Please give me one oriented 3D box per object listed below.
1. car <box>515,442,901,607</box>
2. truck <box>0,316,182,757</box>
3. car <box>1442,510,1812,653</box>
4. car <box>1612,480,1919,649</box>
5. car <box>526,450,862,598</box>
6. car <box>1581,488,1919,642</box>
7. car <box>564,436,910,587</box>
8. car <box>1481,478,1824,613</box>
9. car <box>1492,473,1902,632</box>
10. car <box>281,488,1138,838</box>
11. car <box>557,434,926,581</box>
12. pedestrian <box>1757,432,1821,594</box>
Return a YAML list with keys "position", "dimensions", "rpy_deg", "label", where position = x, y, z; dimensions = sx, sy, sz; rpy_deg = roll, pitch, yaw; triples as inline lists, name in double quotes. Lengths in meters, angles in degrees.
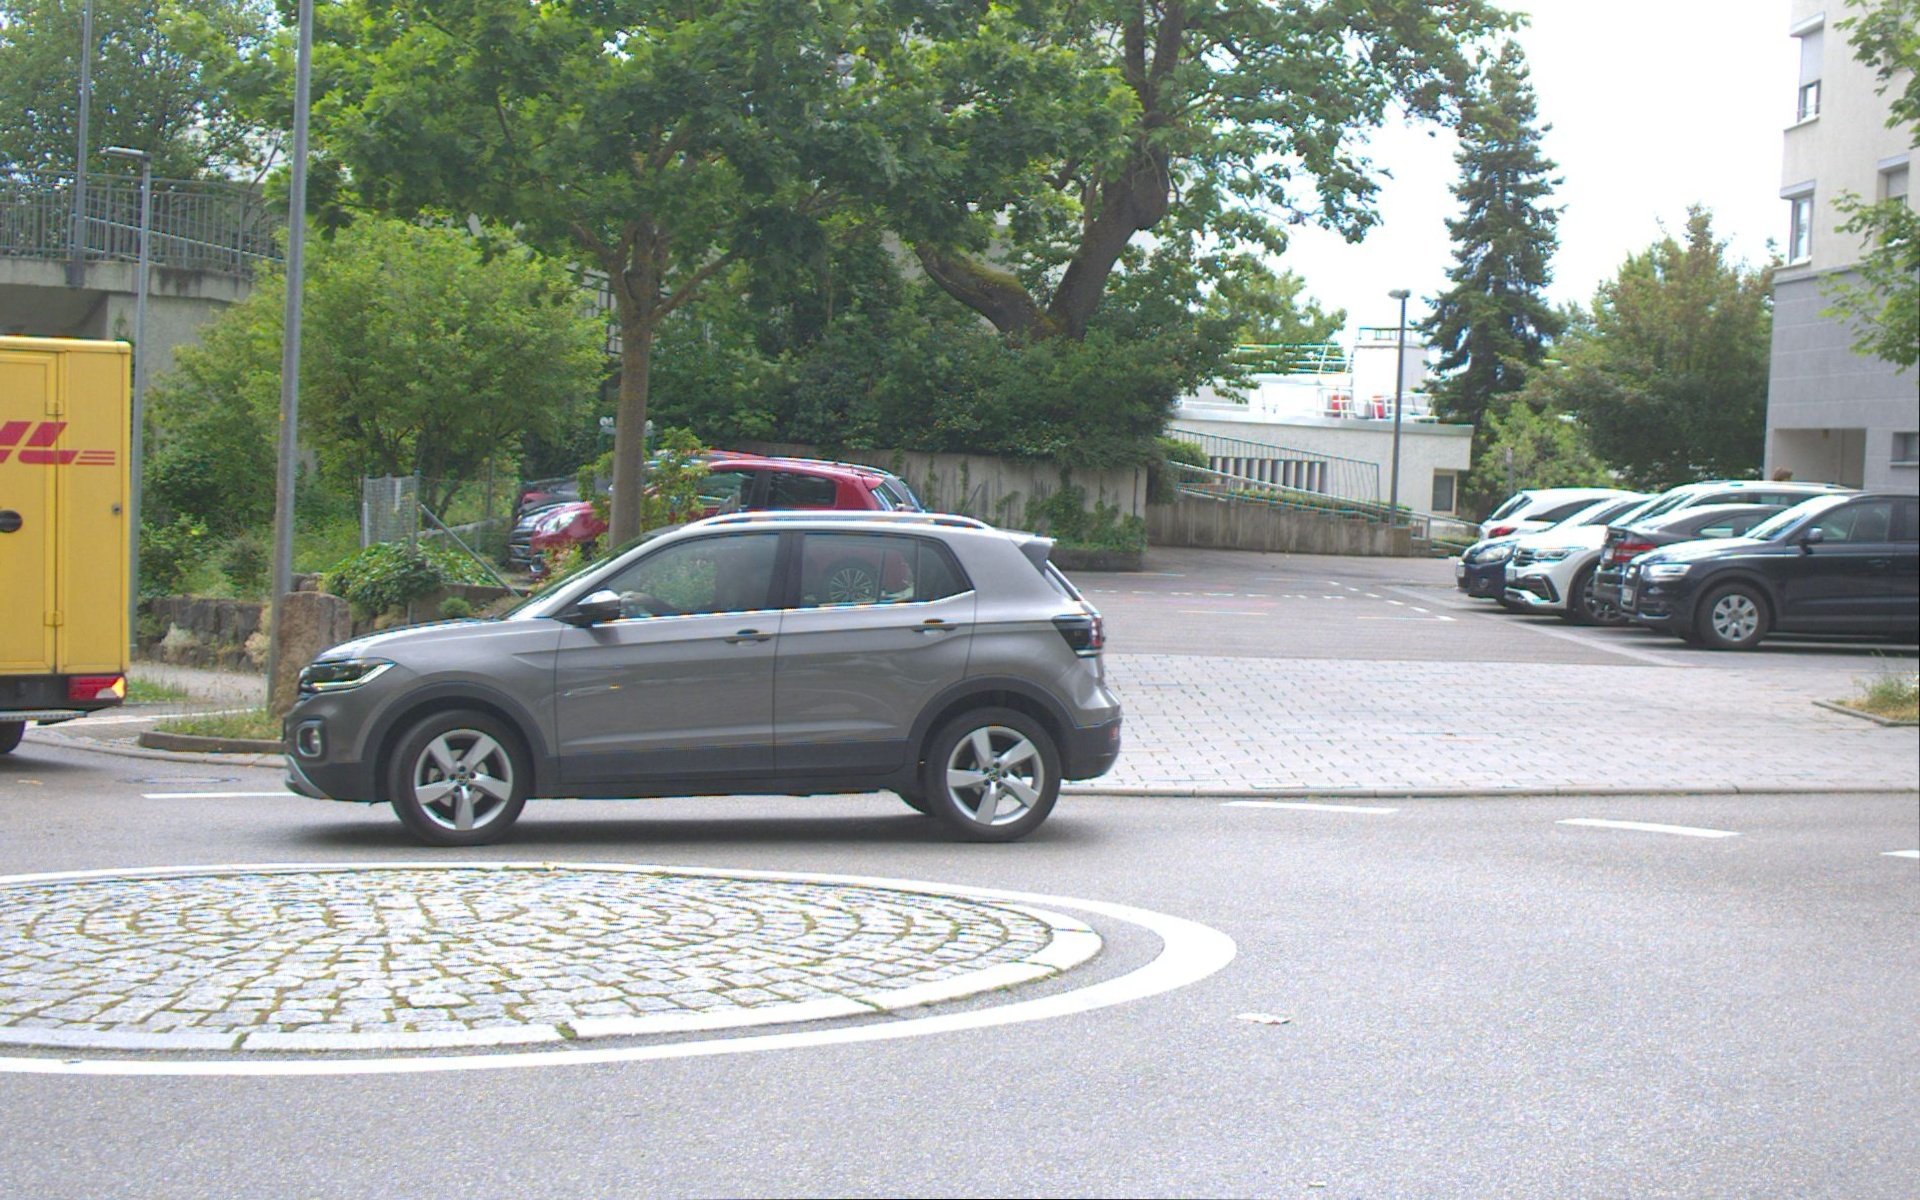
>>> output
- position: [-2.456, -0.738, 33.864]
  dimensions: [3.649, 1.434, 1.684]
  rpy_deg: [2, 1, -3]
  label: "car"
- position: [-8.075, -0.446, 23.607]
  dimensions: [2.467, 2.693, 6.822]
  rpy_deg: [2, 0, -39]
  label: "truck"
- position: [7.887, -0.229, 40.930]
  dimensions: [4.041, 1.512, 1.756]
  rpy_deg: [2, 1, 2]
  label: "car"
- position: [8.622, -0.327, 33.870]
  dimensions: [4.041, 1.512, 1.756]
  rpy_deg: [2, 1, 2]
  label: "car"
- position: [-2.974, -0.852, 38.803]
  dimensions: [3.649, 1.493, 1.684]
  rpy_deg: [2, 1, -3]
  label: "car"
- position: [8.614, -0.363, 36.179]
  dimensions: [3.827, 1.454, 1.692]
  rpy_deg: [2, 1, 2]
  label: "car"
- position: [-2.687, -1.048, 41.192]
  dimensions: [3.986, 1.608, 1.945]
  rpy_deg: [2, 1, -5]
  label: "car"
- position: [8.683, -0.693, 43.351]
  dimensions: [3.981, 1.512, 1.757]
  rpy_deg: [2, 1, 4]
  label: "car"
- position: [8.232, -0.534, 38.578]
  dimensions: [4.118, 1.588, 1.693]
  rpy_deg: [2, 1, -5]
  label: "car"
- position: [-1.246, 0.289, 16.945]
  dimensions: [3.995, 1.612, 1.723]
  rpy_deg: [0, 1, -7]
  label: "car"
- position: [-2.805, -1.175, 43.969]
  dimensions: [4.542, 1.662, 1.945]
  rpy_deg: [2, 1, -5]
  label: "car"
- position: [9.580, -1.008, 39.746]
  dimensions: [0.478, 1.846, 0.507]
  rpy_deg: [2, 1, -11]
  label: "pedestrian"
